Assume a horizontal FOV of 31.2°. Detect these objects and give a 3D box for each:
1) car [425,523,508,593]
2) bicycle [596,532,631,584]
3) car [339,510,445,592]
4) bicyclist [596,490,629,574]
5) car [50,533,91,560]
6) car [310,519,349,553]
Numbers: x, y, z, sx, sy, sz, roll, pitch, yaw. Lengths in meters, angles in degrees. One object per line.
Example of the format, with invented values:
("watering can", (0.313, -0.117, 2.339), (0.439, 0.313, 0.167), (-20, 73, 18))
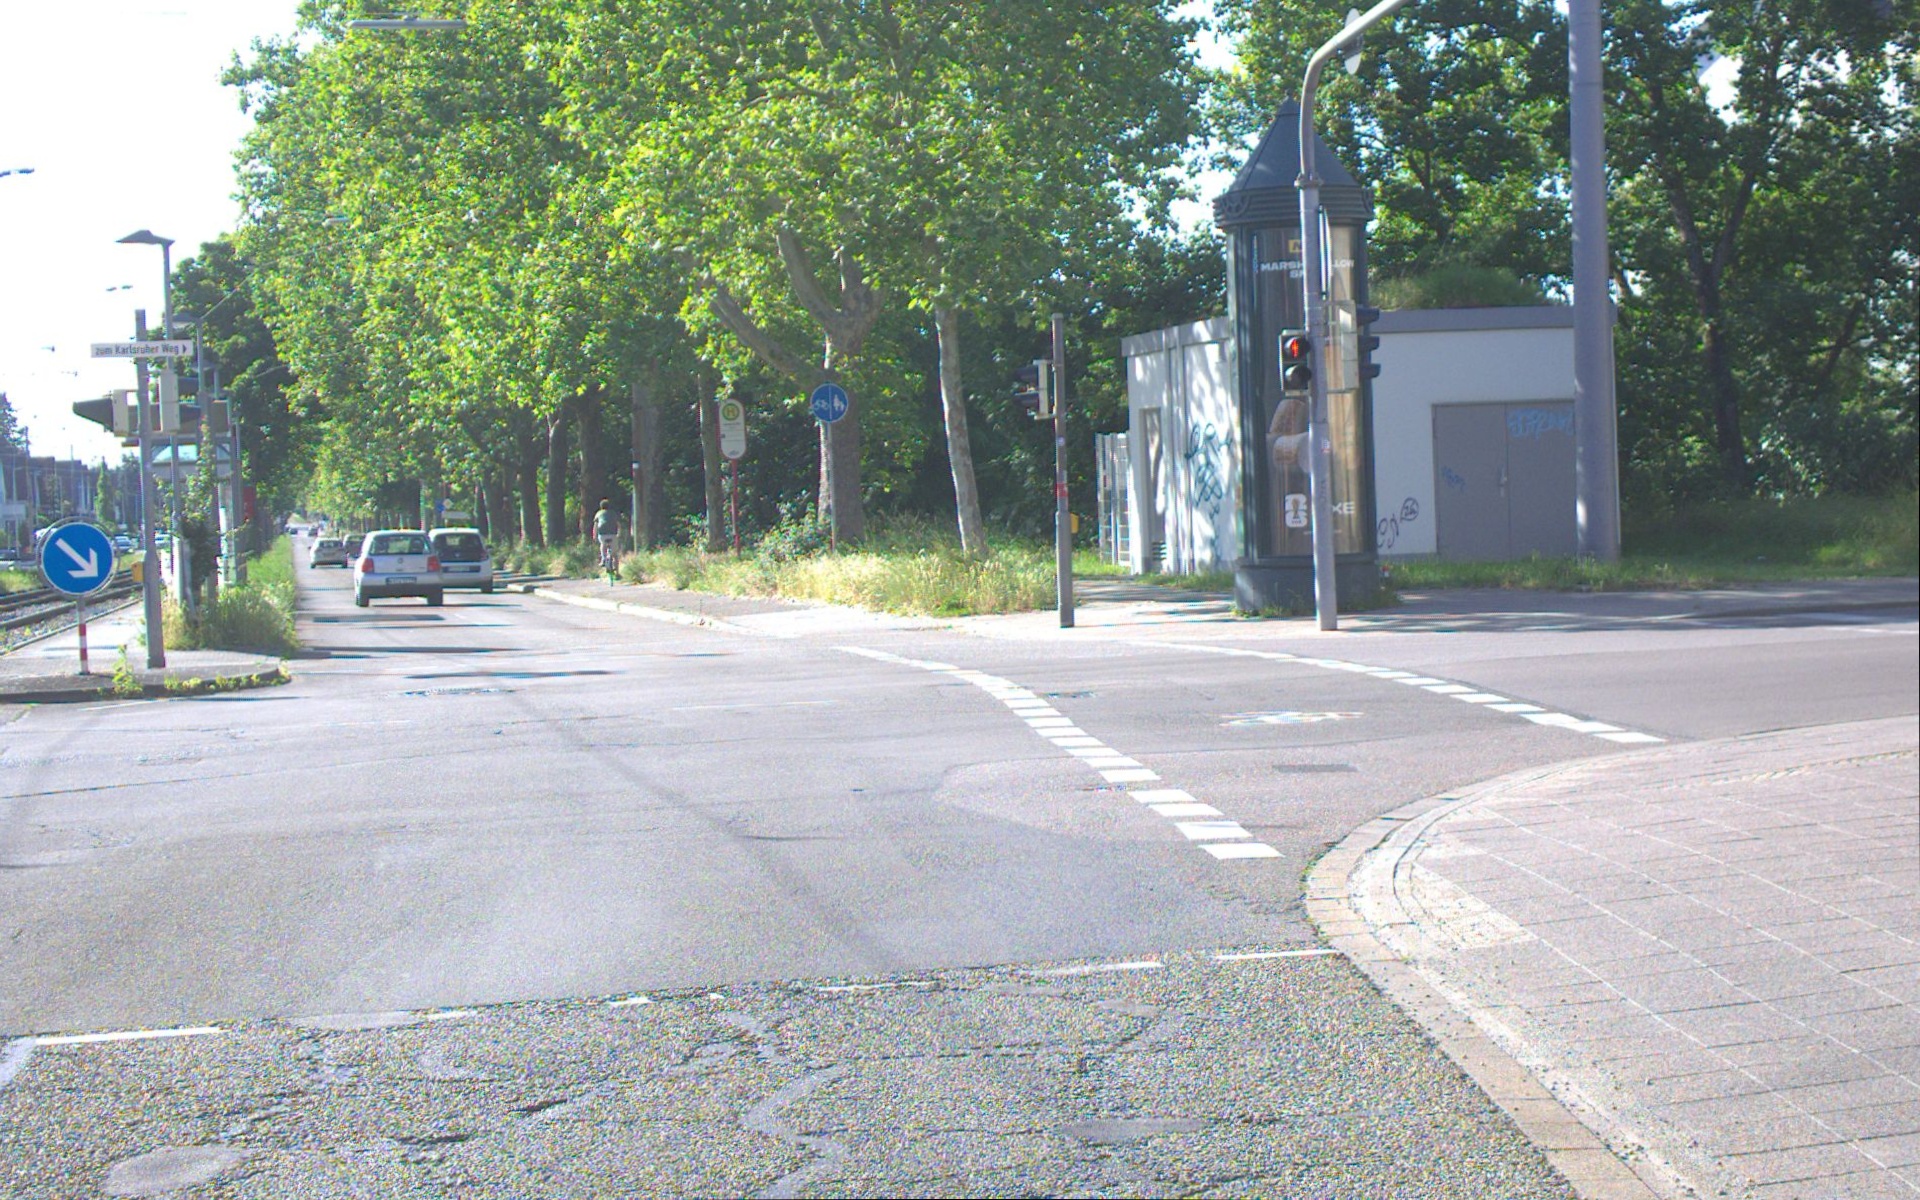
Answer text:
("car", (-11.755, -1.018, 81.738), (1.750, 1.599, 3.751), (0, 1, -12))
("bicycle", (-7.415, -0.902, 73.538), (0.536, 1.062, 1.434), (-3, 2, -13))
("car", (-10.868, -0.947, 65.648), (1.867, 1.481, 3.556), (-2, 1, -11))
("bicyclist", (-7.429, -1.457, 73.492), (0.534, 1.763, 0.713), (-3, 1, -13))
("car", (-50.326, -3.032, 194.639), (1.993, 1.464, 4.378), (-2, 1, -12))
("car", (-31.274, -3.158, 170.515), (1.750, 1.599, 3.582), (-3, 2, -12))
